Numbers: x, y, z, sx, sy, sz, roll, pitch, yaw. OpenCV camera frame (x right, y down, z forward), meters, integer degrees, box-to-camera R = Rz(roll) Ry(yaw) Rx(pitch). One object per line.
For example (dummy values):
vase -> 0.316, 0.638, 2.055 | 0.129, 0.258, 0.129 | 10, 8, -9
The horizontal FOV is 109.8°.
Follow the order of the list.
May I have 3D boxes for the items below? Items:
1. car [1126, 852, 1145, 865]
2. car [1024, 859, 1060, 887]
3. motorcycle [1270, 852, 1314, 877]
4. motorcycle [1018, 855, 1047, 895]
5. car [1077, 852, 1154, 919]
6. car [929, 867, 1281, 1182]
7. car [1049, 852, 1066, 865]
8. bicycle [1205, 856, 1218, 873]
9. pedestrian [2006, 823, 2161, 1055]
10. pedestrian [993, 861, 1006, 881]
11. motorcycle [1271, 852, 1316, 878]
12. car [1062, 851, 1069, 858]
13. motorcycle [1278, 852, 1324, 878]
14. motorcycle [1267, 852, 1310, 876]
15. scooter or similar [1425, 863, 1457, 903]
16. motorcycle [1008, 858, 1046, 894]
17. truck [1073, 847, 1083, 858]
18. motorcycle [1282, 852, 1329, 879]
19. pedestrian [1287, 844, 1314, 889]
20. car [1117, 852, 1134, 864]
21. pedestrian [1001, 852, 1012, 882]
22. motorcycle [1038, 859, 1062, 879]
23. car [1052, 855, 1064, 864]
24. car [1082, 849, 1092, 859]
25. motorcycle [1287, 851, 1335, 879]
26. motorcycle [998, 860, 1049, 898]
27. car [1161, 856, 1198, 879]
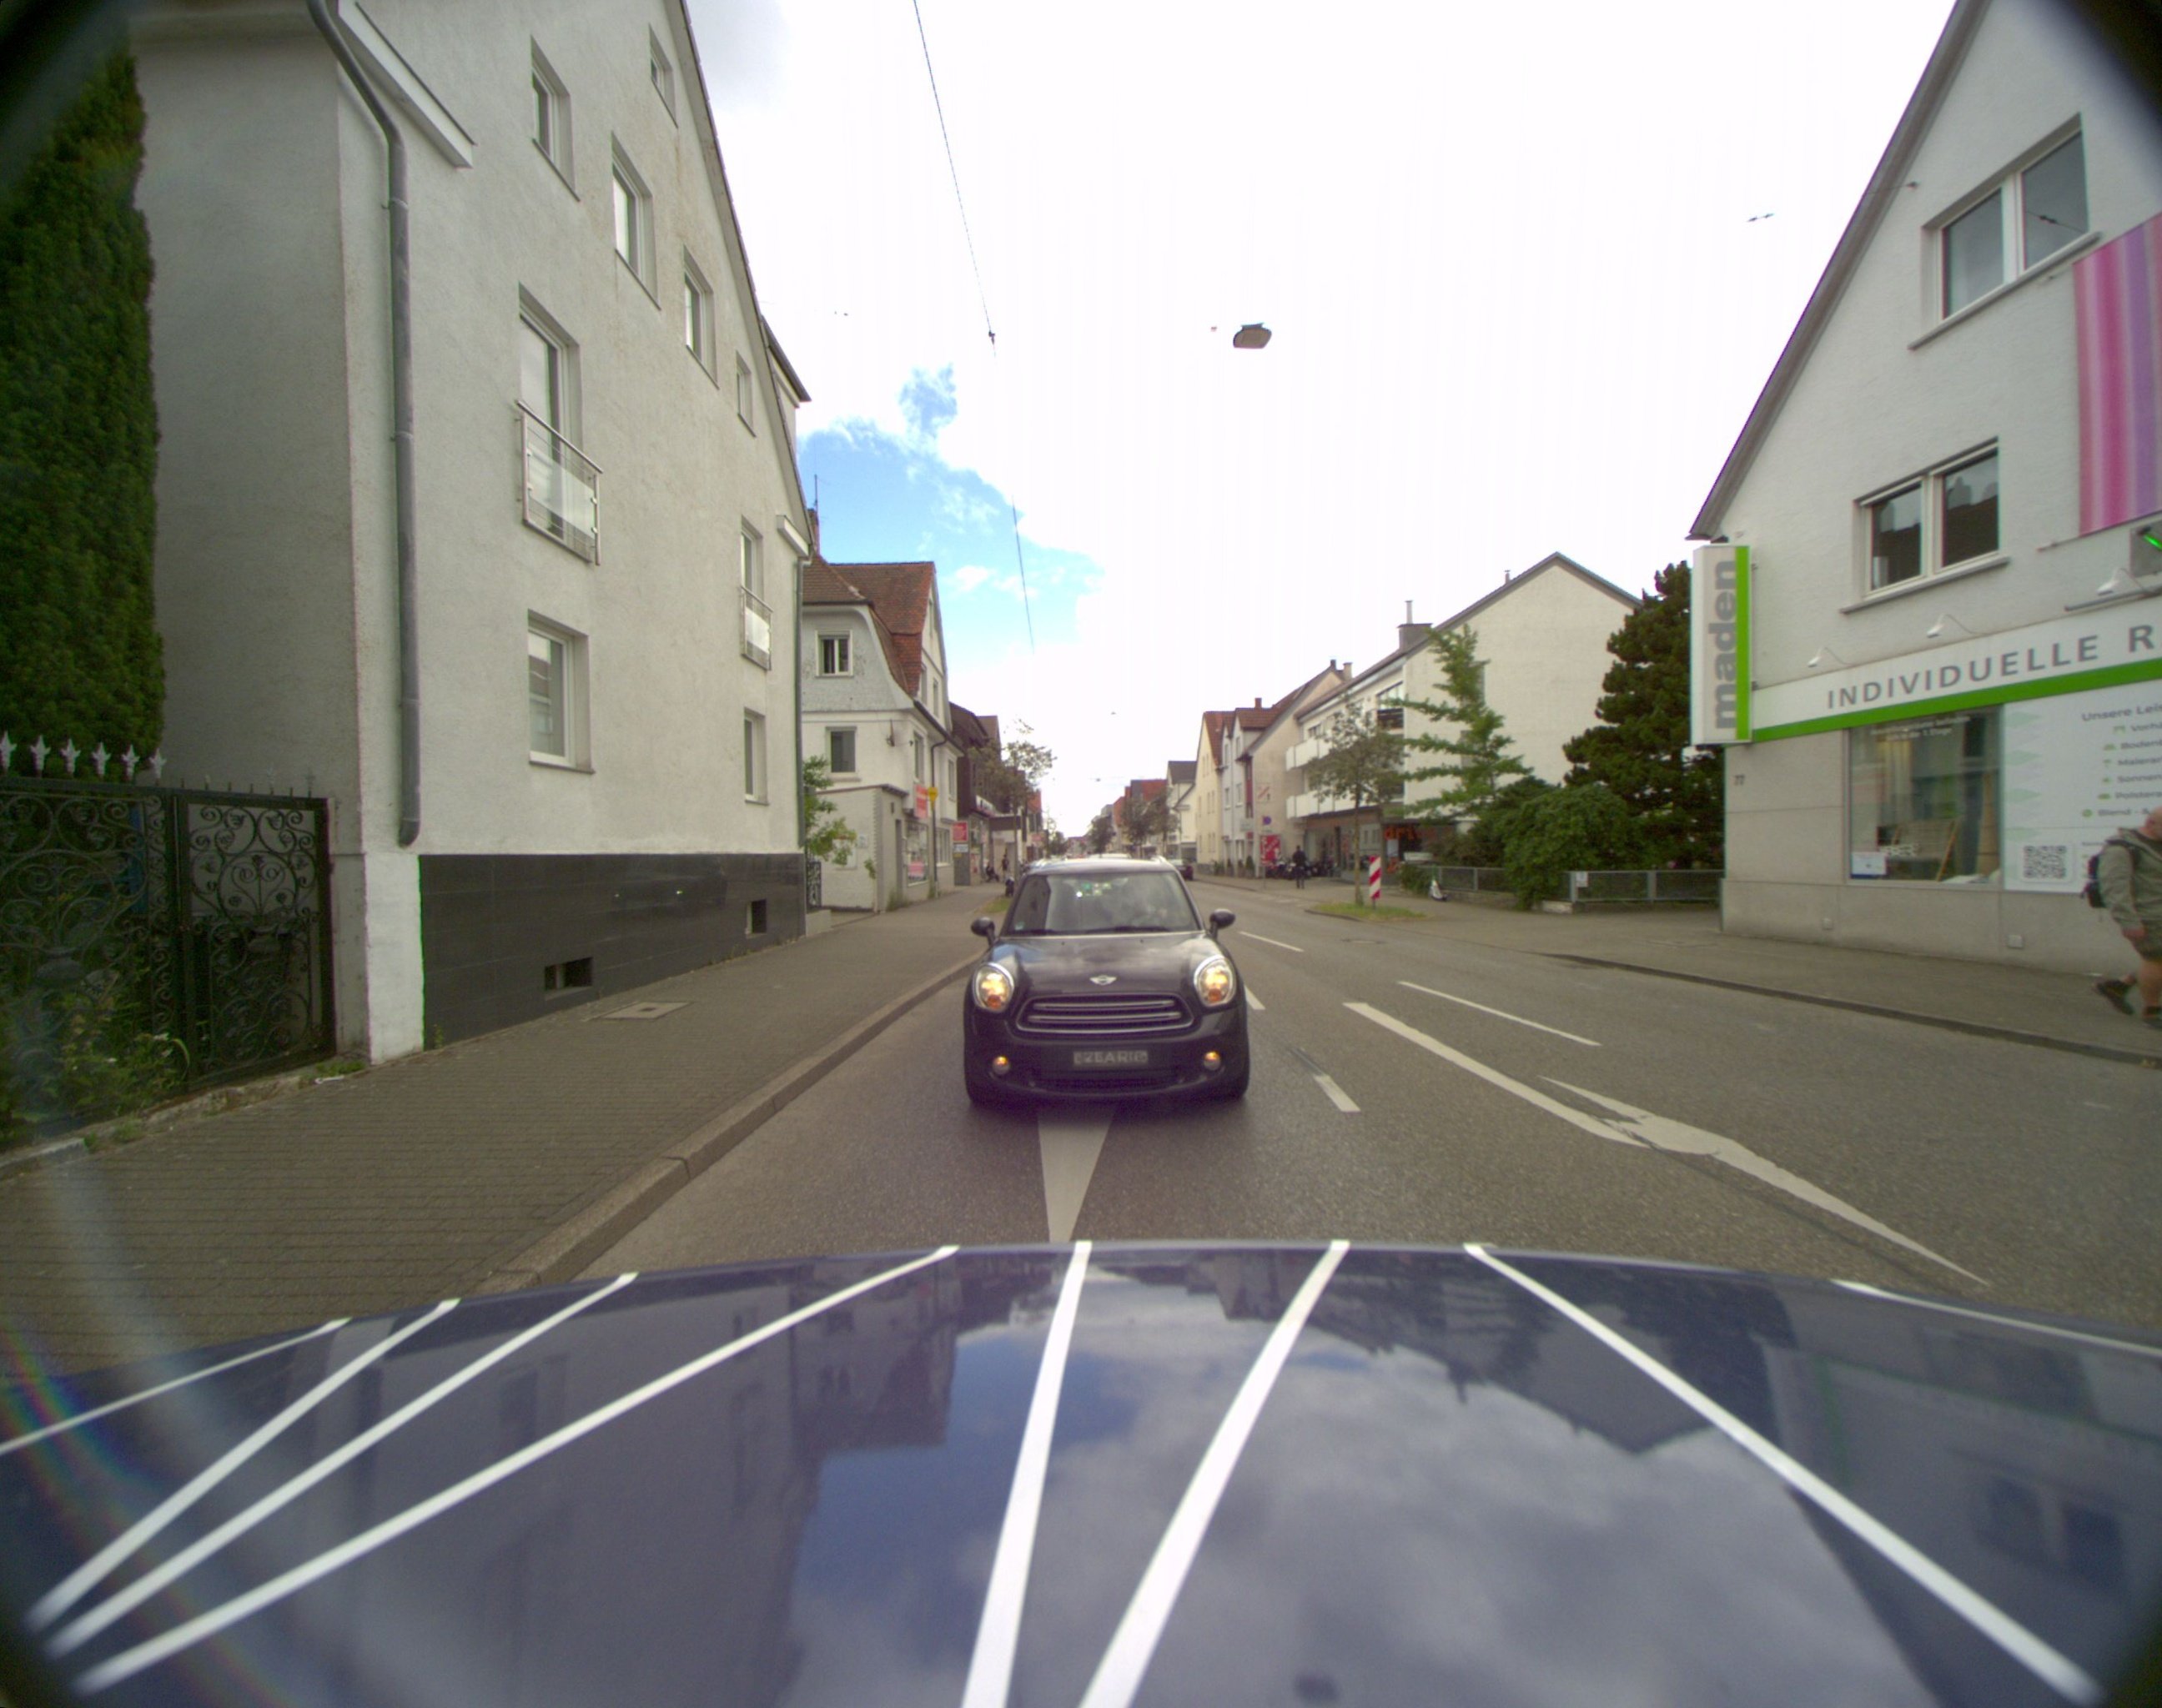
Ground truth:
car -> 6.188, 0.540, 86.014 | 1.716, 1.389, 3.899 | -2, 0, -2
car -> -2.108, 1.021, 42.462 | 1.830, 1.400, 4.564 | -2, 0, -1
motorcycle -> 11.845, 0.572, 42.646 | 2.231, 1.258, 0.613 | -4, 1, -2
motorcycle -> -1.956, 0.836, 30.927 | 0.672, 1.516, 2.599 | -2, 0, 6
car -> 0.878, 0.786, 21.348 | 1.855, 1.615, 4.736 | -2, 0, 0
car -> 0.056, 0.954, 6.456 | 1.855, 1.527, 4.735 | -2, 0, -2
car -> -2.631, 0.495, 84.816 | 1.794, 1.356, 3.948 | 1, 0, 0
bicycle -> 9.404, 0.736, 54.926 | 0.515, 1.189, 2.023 | -2, 0, -1
pedestrian -> 8.517, 0.635, 6.149 | 0.753, 1.733, 1.019 | -3, 1, 0
pedestrian -> -4.959, 1.053, 46.278 | 0.742, 1.204, 0.644 | 0, 1, -1
motorcycle -> 11.694, 0.592, 41.854 | 2.231, 1.258, 0.699 | -4, 1, -2
car -> -4.451, 0.202, 217.646 | 2.059, 2.002, 4.186 | -2, 0, -1
motorcycle -> 11.844, 0.588, 40.999 | 2.231, 1.258, 0.613 | -4, 1, -2
motorcycle -> 11.839, 0.561, 43.351 | 2.231, 1.258, 0.613 | -4, 1, -2
scooter or similar -> 10.355, 0.822, 21.886 | 0.340, 1.105, 1.180 | -2, 1, 0
motorcycle -> -2.263, 0.909, 32.380 | 0.648, 1.432, 2.472 | -2, 1, 19
truck -> -0.900, -0.410, 218.735 | 2.800, 3.020, 8.250 | -2, 0, 0
motorcycle -> 11.854, 0.592, 40.201 | 2.231, 1.258, 0.613 | -4, 1, -2
pedestrian -> 9.392, 0.518, 32.534 | 0.753, 1.838, 1.019 | -5, 1, 0
car -> 5.614, 0.479, 96.497 | 1.716, 1.389, 3.899 | -2, 0, -2
pedestrian -> -4.397, 0.752, 44.699 | 0.644, 1.730, 0.742 | 0, 1, -6
motorcycle -> -2.098, 1.028, 51.418 | 1.588, 1.284, 0.500 | -2, 1, -30
car -> -3.476, 0.825, 114.880 | 1.794, 1.397, 3.948 | 1, 0, 0
car -> 1.329, -0.002, 162.295 | 1.855, 1.932, 4.490 | 0, 0, -2
motorcycle -> 11.894, 0.569, 39.277 | 2.231, 1.258, 0.613 | -4, 1, -2
motorcycle -> -2.178, 0.922, 28.690 | 0.777, 1.373, 2.237 | -2, 1, -37
car -> 6.464, 0.850, 50.229 | 1.792, 1.409, 4.340 | 0, 0, -1
